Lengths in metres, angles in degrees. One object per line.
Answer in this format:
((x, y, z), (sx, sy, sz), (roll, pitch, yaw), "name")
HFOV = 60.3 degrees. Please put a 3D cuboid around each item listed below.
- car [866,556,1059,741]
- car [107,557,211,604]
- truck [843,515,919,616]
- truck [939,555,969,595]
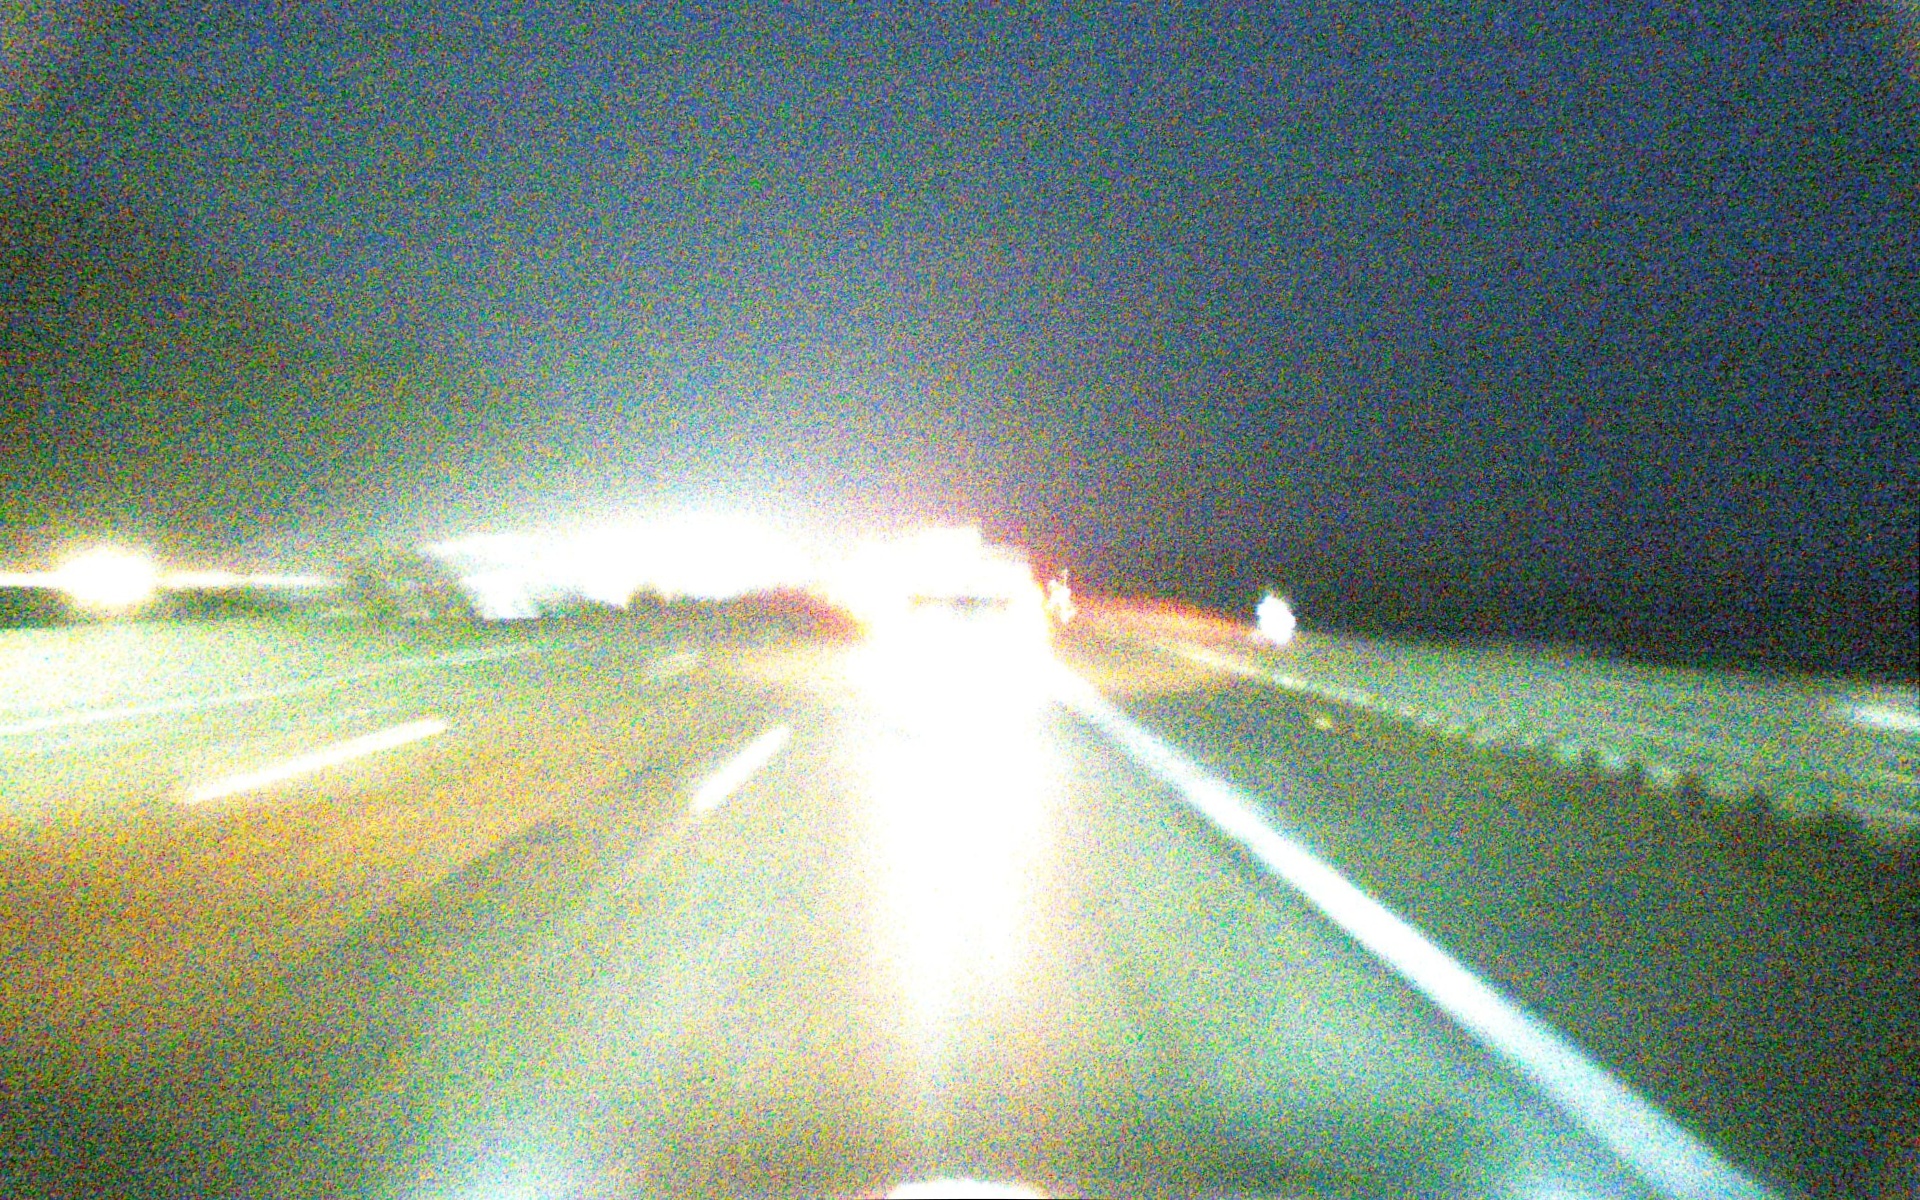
((0.021, 0.492, 19.257), (1.913, 1.823, 5.124), (1, 0, 0), "car")
((-27.508, -0.661, 56.924), (1.673, 1.490, 3.999), (2, 0, -2), "car")
((-4.648, -1.934, 100.145), (4.083, 5.641, 13.071), (1, 0, -1), "truck")
((-0.868, -3.288, 220.216), (3.746, 5.001, 11.603), (2, 0, -1), "truck")
